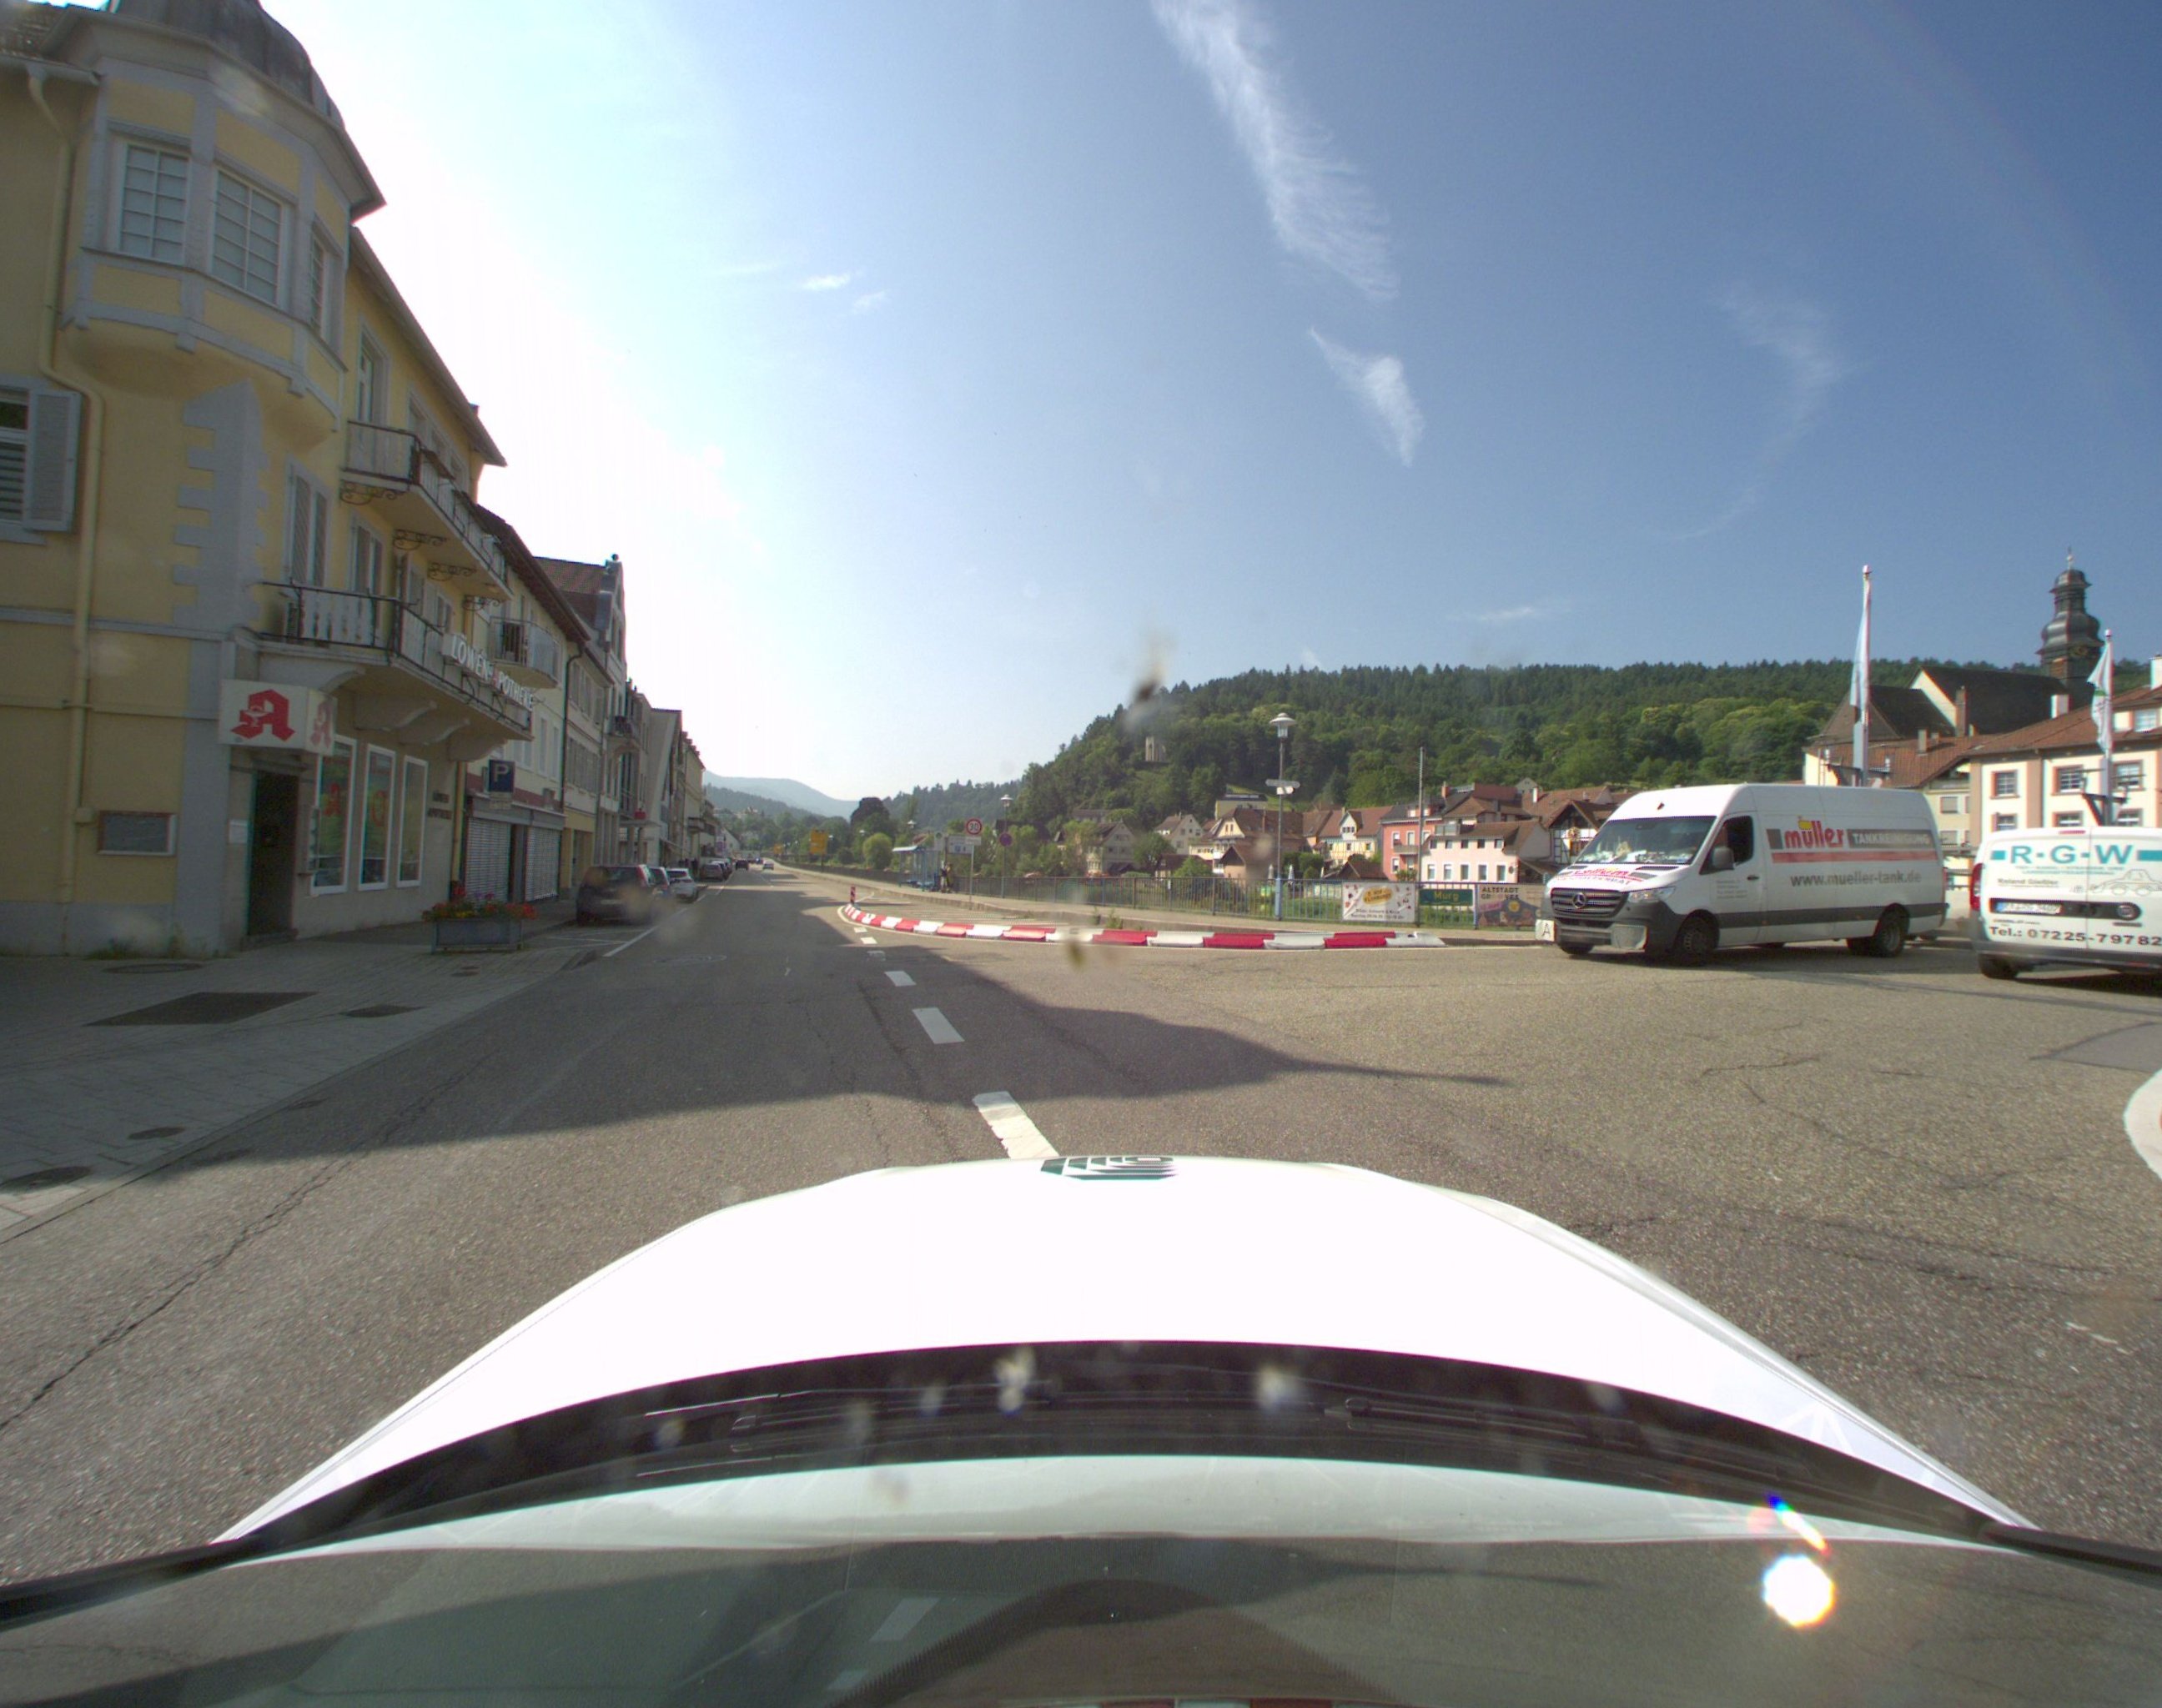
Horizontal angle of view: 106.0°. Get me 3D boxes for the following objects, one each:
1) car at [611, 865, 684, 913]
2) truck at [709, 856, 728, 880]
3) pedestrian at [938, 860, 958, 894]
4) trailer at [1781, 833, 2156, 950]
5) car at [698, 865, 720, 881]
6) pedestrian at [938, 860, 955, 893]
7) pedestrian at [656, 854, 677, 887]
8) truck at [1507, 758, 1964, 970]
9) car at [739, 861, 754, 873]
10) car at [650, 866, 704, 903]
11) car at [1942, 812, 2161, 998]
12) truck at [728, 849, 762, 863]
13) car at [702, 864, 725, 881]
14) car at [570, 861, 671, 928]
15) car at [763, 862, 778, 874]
[{"bbox_3d":[-13.884,1.083,26.214,1.755,1.448,3.251,1,-1,-23],"label":"car"},{"bbox_3d":[-38.903,1.491,87.414,1.754,2.468,4.625,1,-1,-23],"label":"truck"},{"bbox_3d":[-6.946,1.202,42.484,0.869,1.706,0.772,2,-2,-20],"label":"pedestrian"},{"bbox_3d":[16.180,0.651,14.919,5.635,1.828,2.602,1,-1,-19],"label":"trailer"},{"bbox_3d":[-30.357,1.533,66.525,1.570,1.220,3.251,1,-1,-23],"label":"car"},{"bbox_3d":[-7.122,1.208,43.100,0.792,1.706,0.488,2,-2,-21],"label":"pedestrian"},{"bbox_3d":[-21.848,0.881,42.890,0.685,1.696,0.660,1,-1,5],"label":"pedestrian"},{"bbox_3d":[10.175,0.133,12.584,7.133,2.699,2.098,0,-1,-20],"label":"truck"},{"bbox_3d":[-52.244,1.993,127.250,2.001,1.662,3.971,3,-1,-22],"label":"car"},{"bbox_3d":[-16.806,1.242,33.995,1.754,1.448,3.765,1,-1,-23],"label":"car"},{"bbox_3d":[12.870,0.525,9.804,4.313,1.906,1.839,0,0,-19],"label":"car"},{"bbox_3d":[-86.038,0.563,208.818,3.049,3.264,9.238,1,-1,13],"label":"truck"},{"bbox_3d":[-32.583,1.657,72.218,1.755,1.448,3.251,1,-1,-23],"label":"car"},{"bbox_3d":[-11.802,0.976,21.099,1.855,1.568,3.540,1,-1,-23],"label":"car"},{"bbox_3d":[-49.643,2.216,130.196,2.001,1.662,3.971,3,-1,-22],"label":"car"}]
